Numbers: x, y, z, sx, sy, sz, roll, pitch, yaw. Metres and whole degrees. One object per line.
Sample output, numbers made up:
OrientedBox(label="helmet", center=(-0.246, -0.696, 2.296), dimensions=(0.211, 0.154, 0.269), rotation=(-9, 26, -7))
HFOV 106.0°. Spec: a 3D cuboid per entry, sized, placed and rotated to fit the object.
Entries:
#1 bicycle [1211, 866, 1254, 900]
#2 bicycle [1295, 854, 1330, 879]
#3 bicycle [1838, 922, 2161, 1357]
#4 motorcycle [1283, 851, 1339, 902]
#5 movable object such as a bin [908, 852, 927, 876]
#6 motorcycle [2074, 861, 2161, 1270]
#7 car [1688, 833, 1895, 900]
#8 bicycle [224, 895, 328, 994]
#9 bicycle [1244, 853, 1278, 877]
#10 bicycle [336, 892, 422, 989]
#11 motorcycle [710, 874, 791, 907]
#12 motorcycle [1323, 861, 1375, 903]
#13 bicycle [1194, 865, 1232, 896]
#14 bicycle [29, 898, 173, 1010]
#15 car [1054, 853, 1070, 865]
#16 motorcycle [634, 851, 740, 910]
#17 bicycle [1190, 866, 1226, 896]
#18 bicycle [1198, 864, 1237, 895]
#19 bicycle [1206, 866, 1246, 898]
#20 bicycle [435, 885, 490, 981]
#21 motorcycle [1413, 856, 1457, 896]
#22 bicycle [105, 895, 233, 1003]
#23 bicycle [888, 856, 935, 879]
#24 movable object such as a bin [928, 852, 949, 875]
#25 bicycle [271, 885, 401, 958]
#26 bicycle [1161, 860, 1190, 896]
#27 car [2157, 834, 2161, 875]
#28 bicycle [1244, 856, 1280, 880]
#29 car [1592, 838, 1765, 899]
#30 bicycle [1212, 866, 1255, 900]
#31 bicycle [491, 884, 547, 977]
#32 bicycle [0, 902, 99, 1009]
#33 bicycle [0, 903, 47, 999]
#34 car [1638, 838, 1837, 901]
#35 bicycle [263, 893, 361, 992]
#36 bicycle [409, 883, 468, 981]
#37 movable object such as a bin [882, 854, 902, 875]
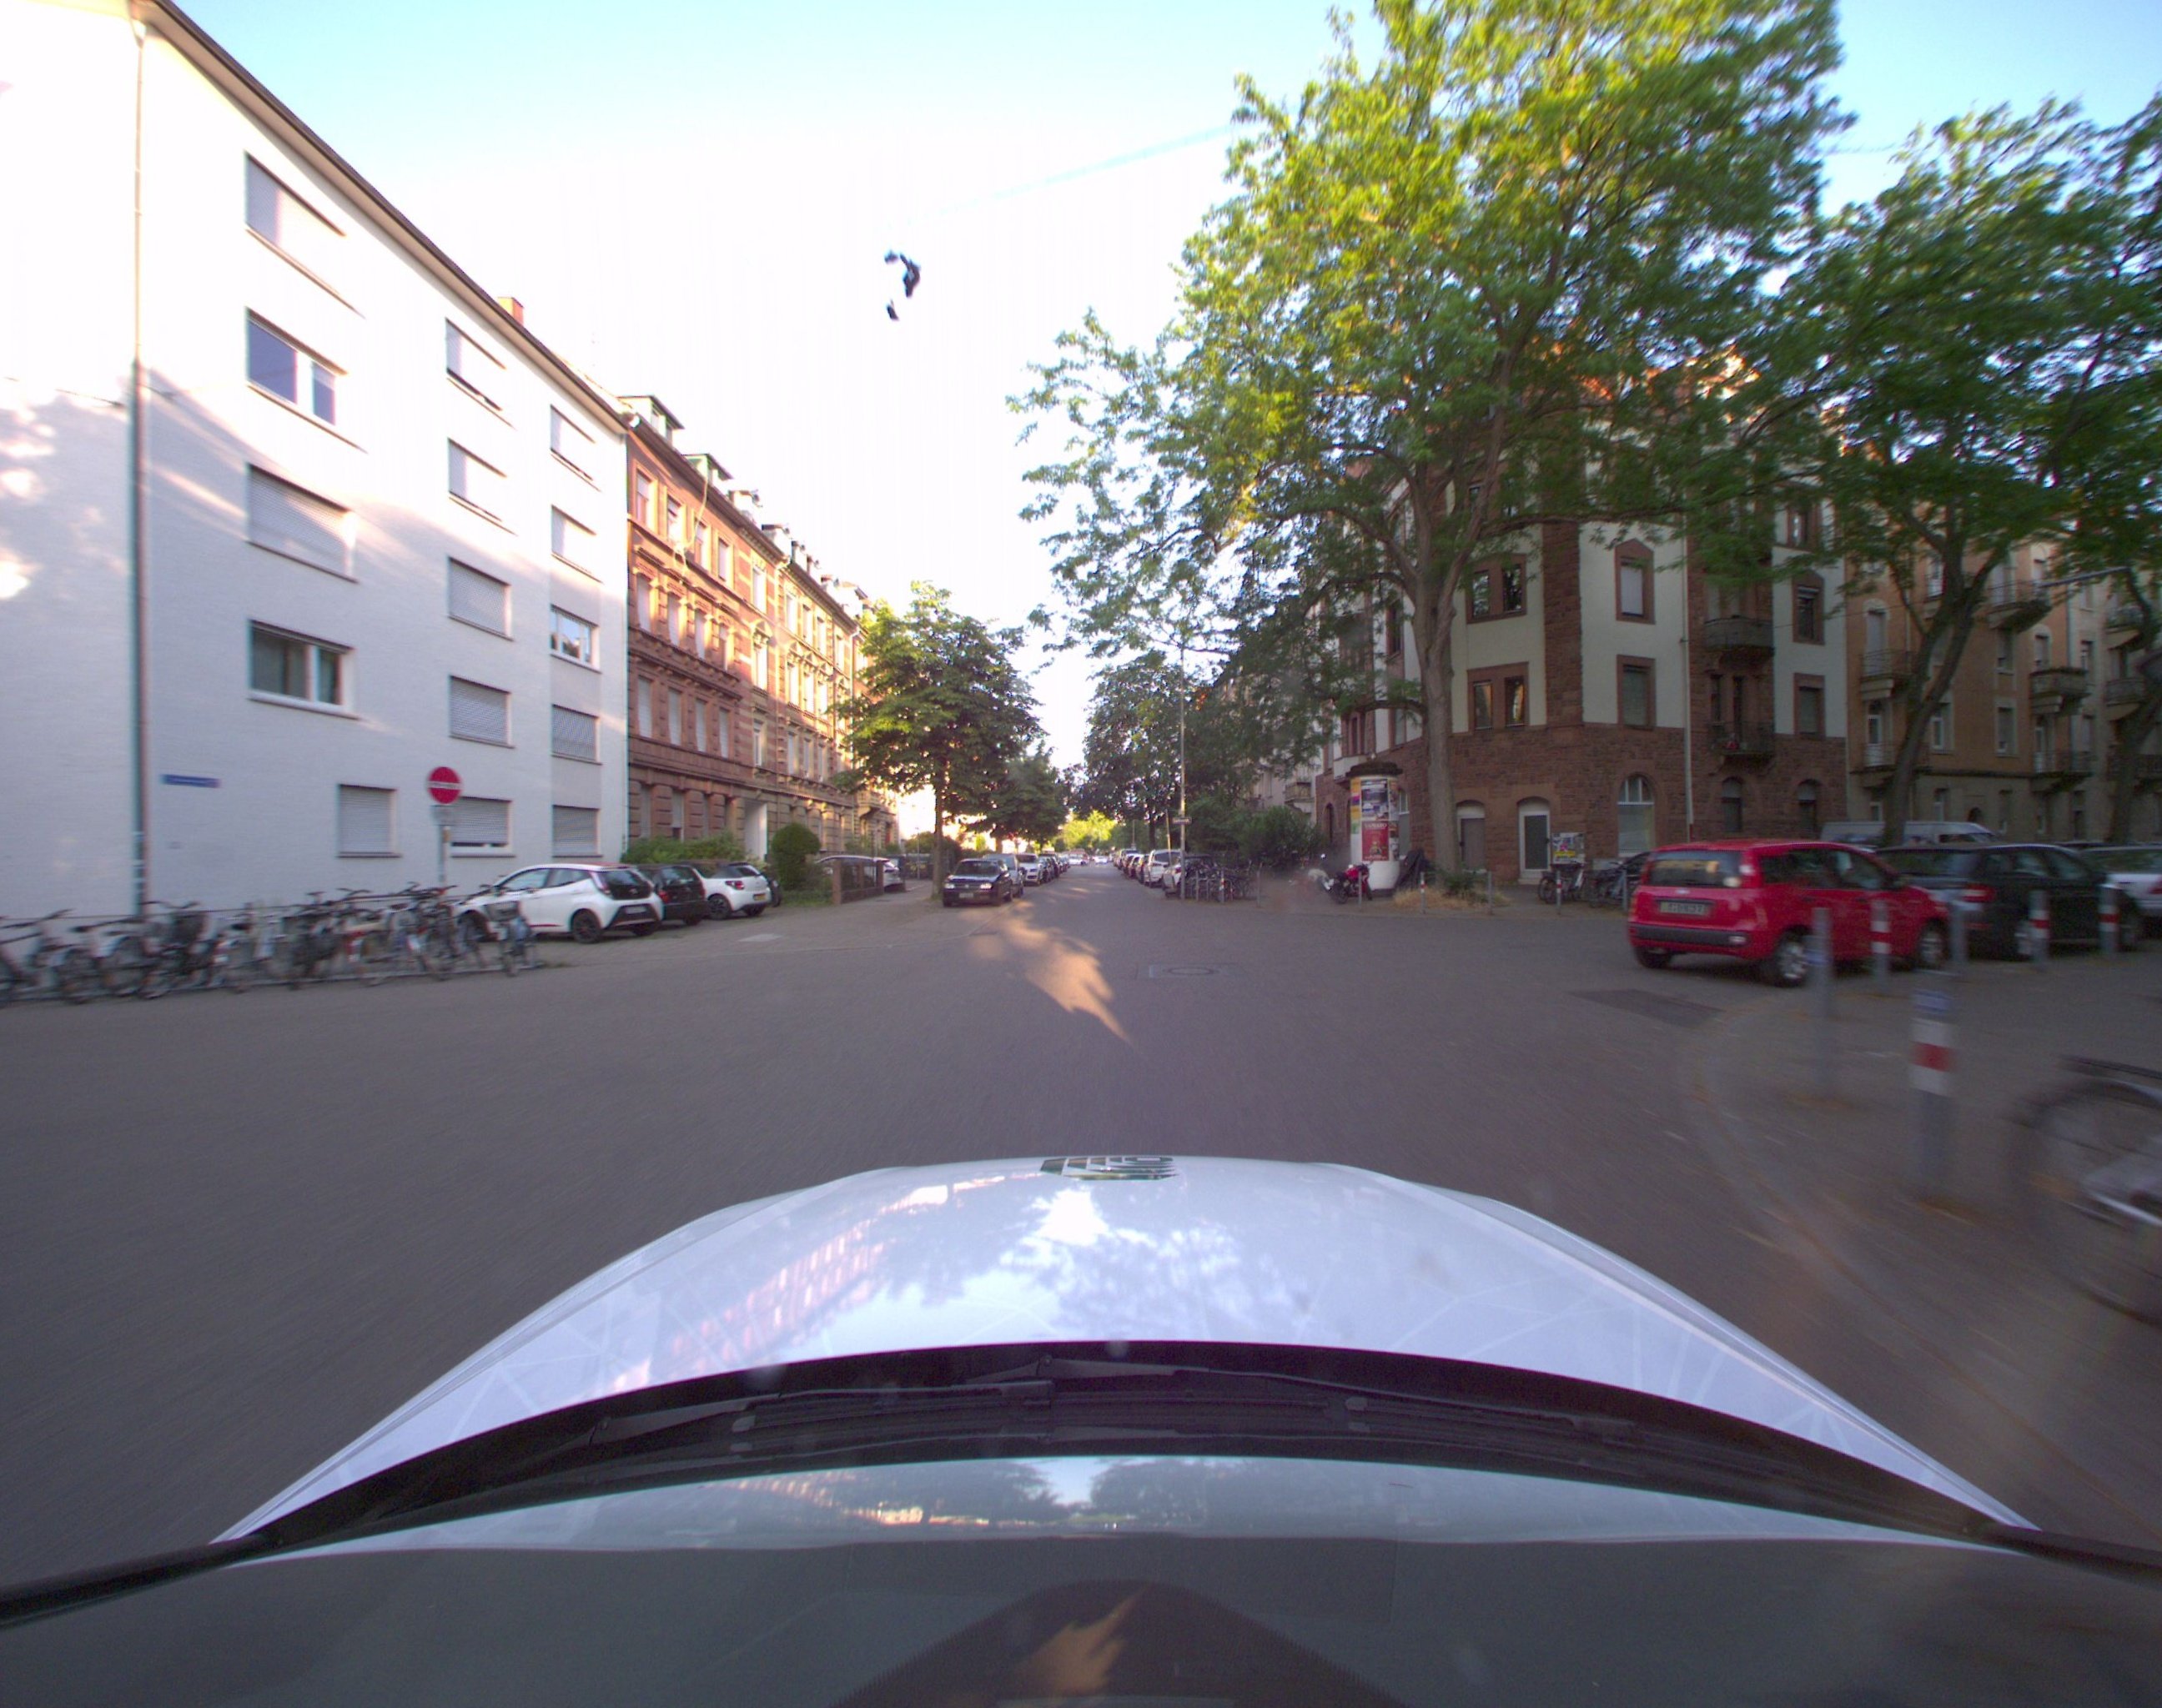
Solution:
OrientedBox(label="bicycle", center=(4.599, 0.880, 24.783), dimensions=(1.220, 0.987, 0.330), rotation=(-2, 1, -1))
OrientedBox(label="bicycle", center=(10.526, 0.566, 37.052), dimensions=(1.505, 1.034, 0.330), rotation=(-2, 1, -1))
OrientedBox(label="bicycle", center=(3.226, 0.856, 2.300), dimensions=(0.403, 1.109, 2.160), rotation=(-3, 0, 9))
OrientedBox(label="motorcycle", center=(6.869, 0.637, 24.207), dimensions=(0.578, 1.408, 2.226), rotation=(0, 2, 45))
OrientedBox(label="movable object such as a bin", center=(-9.743, 0.597, 48.501), dimensions=(1.098, 1.414, 1.001), rotation=(1, 1, -13))
OrientedBox(label="motorcycle", center=(3.719, 0.700, 1.869), dimensions=(0.499, 1.356, 2.066), rotation=(-3, -1, 8))
OrientedBox(label="car", center=(20.055, 0.333, 23.220), dimensions=(1.776, 1.720, 4.117), rotation=(-1, 0, -19))
OrientedBox(label="bicycle", center=(-10.540, 1.138, 10.725), dimensions=(0.368, 1.109, 1.836), rotation=(-1, 0, -25))
OrientedBox(label="bicycle", center=(8.240, 0.494, 37.295), dimensions=(1.505, 1.034, 0.330), rotation=(-2, 1, -1))
OrientedBox(label="bicycle", center=(-9.325, 1.102, 10.872), dimensions=(0.368, 1.109, 1.836), rotation=(-1, 0, -25))
OrientedBox(label="motorcycle", center=(-9.801, 1.070, 24.165), dimensions=(2.222, 0.958, 0.589), rotation=(0, 0, 10))
OrientedBox(label="motorcycle", center=(7.680, 0.768, 23.259), dimensions=(2.225, 1.079, 0.432), rotation=(-2, 2, -44))
OrientedBox(label="bicycle", center=(4.336, 0.871, 26.799), dimensions=(1.229, 0.947, 0.328), rotation=(-2, 1, -22))
OrientedBox(label="bicycle", center=(-11.955, 1.162, 10.000), dimensions=(0.368, 1.152, 1.836), rotation=(-1, 0, -25))
OrientedBox(label="car", center=(-2.340, 0.628, 99.792), dimensions=(1.709, 1.486, 3.632), rotation=(0, -1, 2))
OrientedBox(label="motorcycle", center=(-11.323, 0.761, 23.437), dimensions=(2.835, 1.638, 0.677), rotation=(-1, 0, 9))
OrientedBox(label="bicycle", center=(4.269, 0.893, 27.414), dimensions=(1.231, 0.951, 0.327), rotation=(-2, 1, -27))
OrientedBox(label="bicycle", center=(4.391, 0.809, 26.097), dimensions=(1.229, 0.957, 0.328), rotation=(-2, 1, -22))
OrientedBox(label="bicycle", center=(4.575, 0.874, 25.703), dimensions=(1.226, 0.963, 0.329), rotation=(-2, 1, -16))
OrientedBox(label="bicycle", center=(-8.528, 1.047, 11.260), dimensions=(0.243, 1.181, 1.665), rotation=(-1, 0, -25))
OrientedBox(label="motorcycle", center=(10.673, 0.638, 24.510), dimensions=(2.123, 1.079, 0.432), rotation=(-2, 2, -44))
OrientedBox(label="bicycle", center=(-11.400, 1.134, 10.248), dimensions=(0.368, 1.152, 1.836), rotation=(-1, 0, -25))
OrientedBox(label="bicycle", center=(-9.605, 0.766, 46.219), dimensions=(2.515, 1.192, 0.645), rotation=(2, 0, 6))
OrientedBox(label="movable object such as a bin", center=(-8.505, 0.568, 48.656), dimensions=(1.008, 1.321, 1.007), rotation=(1, 1, 6))
OrientedBox(label="bicycle", center=(-12.467, 1.101, 13.705), dimensions=(0.394, 1.062, 1.879), rotation=(-1, 0, 2))
OrientedBox(label="bicycle", center=(3.222, 0.811, 27.645), dimensions=(0.439, 1.173, 1.646), rotation=(-1, 0, 26))
OrientedBox(label="car", center=(46.881, 0.000, 32.711), dimensions=(1.998, 1.728, 3.977), rotation=(-1, 0, -17))
OrientedBox(label="bicycle", center=(8.174, 0.626, 36.809), dimensions=(1.505, 1.034, 0.330), rotation=(-2, 1, -1))
OrientedBox(label="car", center=(15.740, 0.354, 21.652), dimensions=(1.679, 1.477, 3.415), rotation=(0, 0, -16))
OrientedBox(label="bicycle", center=(4.708, 0.893, 25.139), dimensions=(1.221, 0.987, 0.330), rotation=(-2, 1, -3))
OrientedBox(label="bicycle", center=(-7.942, 1.030, 11.545), dimensions=(0.338, 1.181, 1.862), rotation=(-1, -1, -25))
OrientedBox(label="bicycle", center=(-12.651, 1.187, 9.761), dimensions=(0.368, 1.116, 1.836), rotation=(-1, 0, -25))
OrientedBox(label="bicycle", center=(-13.232, 1.198, 9.675), dimensions=(0.368, 1.116, 1.836), rotation=(-1, 0, -25))
OrientedBox(label="car", center=(17.954, 0.383, 22.517), dimensions=(1.824, 1.553, 3.978), rotation=(-1, 0, -16))
OrientedBox(label="bicycle", center=(-10.063, 1.106, 10.713), dimensions=(0.368, 1.109, 1.836), rotation=(-1, 0, -25))
OrientedBox(label="bicycle", center=(-8.770, 1.021, 11.157), dimensions=(0.243, 1.181, 1.665), rotation=(-1, 0, -25))
OrientedBox(label="movable object such as a bin", center=(-11.334, 0.623, 48.819), dimensions=(1.098, 1.209, 1.001), rotation=(1, 1, -13))
